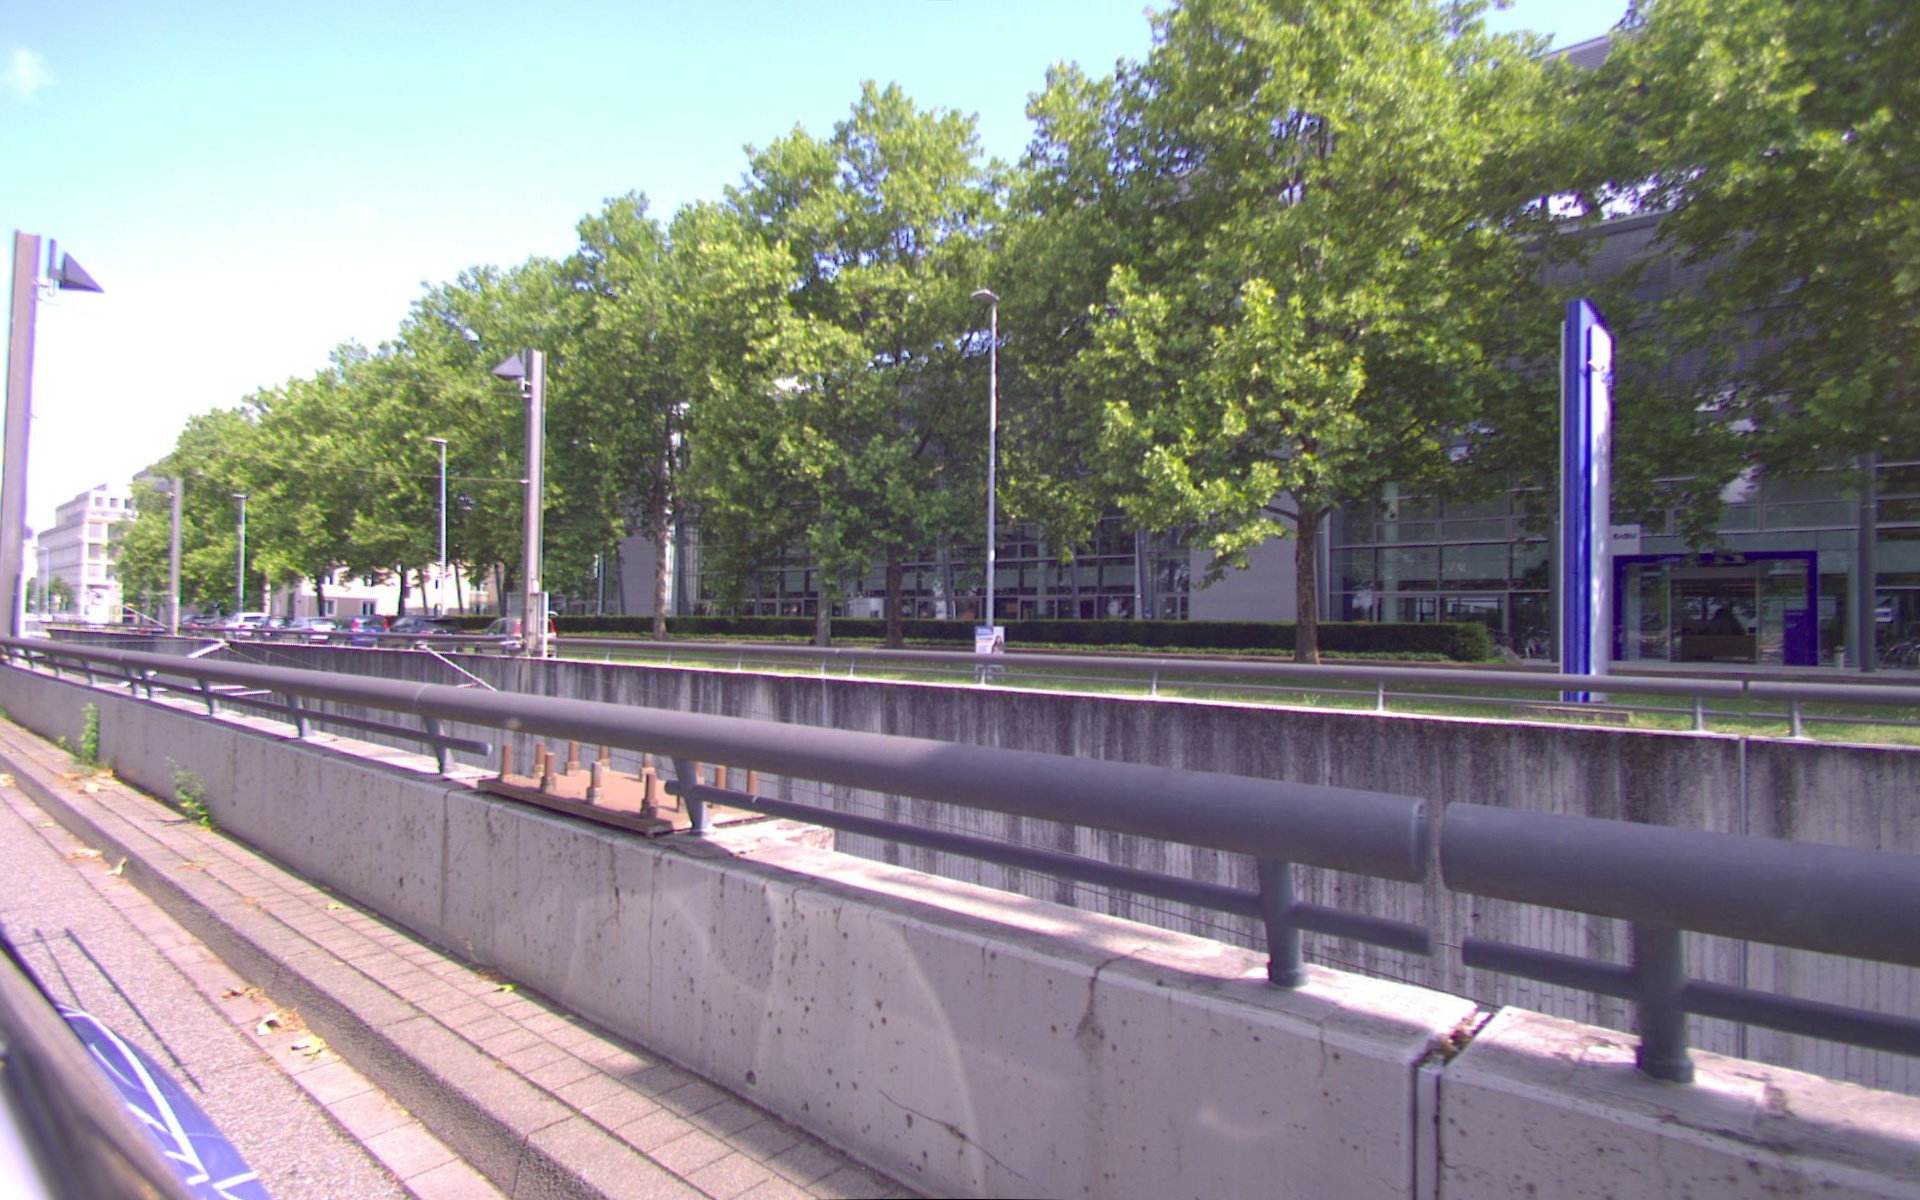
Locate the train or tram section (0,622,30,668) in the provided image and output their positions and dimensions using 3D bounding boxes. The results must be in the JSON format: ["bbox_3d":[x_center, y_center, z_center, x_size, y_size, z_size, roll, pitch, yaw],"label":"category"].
[{"bbox_3d":[-54.510,2.524,57.314,6.248,2.477,2.186,-1,0,43],"label":"train or tram section"}]

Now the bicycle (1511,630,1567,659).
[{"bbox_3d":[21.226,1.615,37.160,0.586,1.031,2.339,0,-1,-3],"label":"bicycle"}]

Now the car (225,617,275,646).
[{"bbox_3d":[-35.051,1.567,49.948,3.183,1.387,1.292,-1,-2,41],"label":"car"}]

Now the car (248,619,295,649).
[{"bbox_3d":[-32.382,1.588,47.614,2.744,1.387,1.152,-1,-2,41],"label":"car"}]

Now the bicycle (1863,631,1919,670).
[{"bbox_3d":[28.465,1.530,30.772,2.232,1.158,0.638,1,-2,-25],"label":"bicycle"}]

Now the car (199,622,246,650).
[{"bbox_3d":[-38.812,1.883,53.258,3.183,1.387,1.292,-1,-2,41],"label":"car"}]

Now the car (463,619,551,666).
[{"bbox_3d":[-14.733,1.355,32.852,3.155,1.467,1.402,-1,-2,41],"label":"car"}]

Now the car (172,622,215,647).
[{"bbox_3d":[-43.601,1.951,57.536,3.183,1.387,1.292,-1,-2,41],"label":"car"}]

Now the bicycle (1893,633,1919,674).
[{"bbox_3d":[28.750,1.589,30.133,2.232,1.158,0.638,1,-1,-25],"label":"bicycle"}]

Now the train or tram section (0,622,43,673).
[{"bbox_3d":[-49.987,2.456,53.094,6.248,2.477,2.186,-1,0,43],"label":"train or tram section"}]

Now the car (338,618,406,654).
[{"bbox_3d":[-23.599,1.445,40.592,2.886,1.387,1.495,-1,-2,41],"label":"car"}]

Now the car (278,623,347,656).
[{"bbox_3d":[-28.856,1.739,45.061,3.894,1.387,1.559,-1,-2,41],"label":"car"}]

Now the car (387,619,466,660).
[{"bbox_3d":[-19.724,1.446,37.382,3.155,1.445,1.562,-1,-2,41],"label":"car"}]

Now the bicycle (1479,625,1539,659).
[{"bbox_3d":[20.075,1.524,37.063,0.802,1.186,2.339,0,-1,-3],"label":"bicycle"}]
